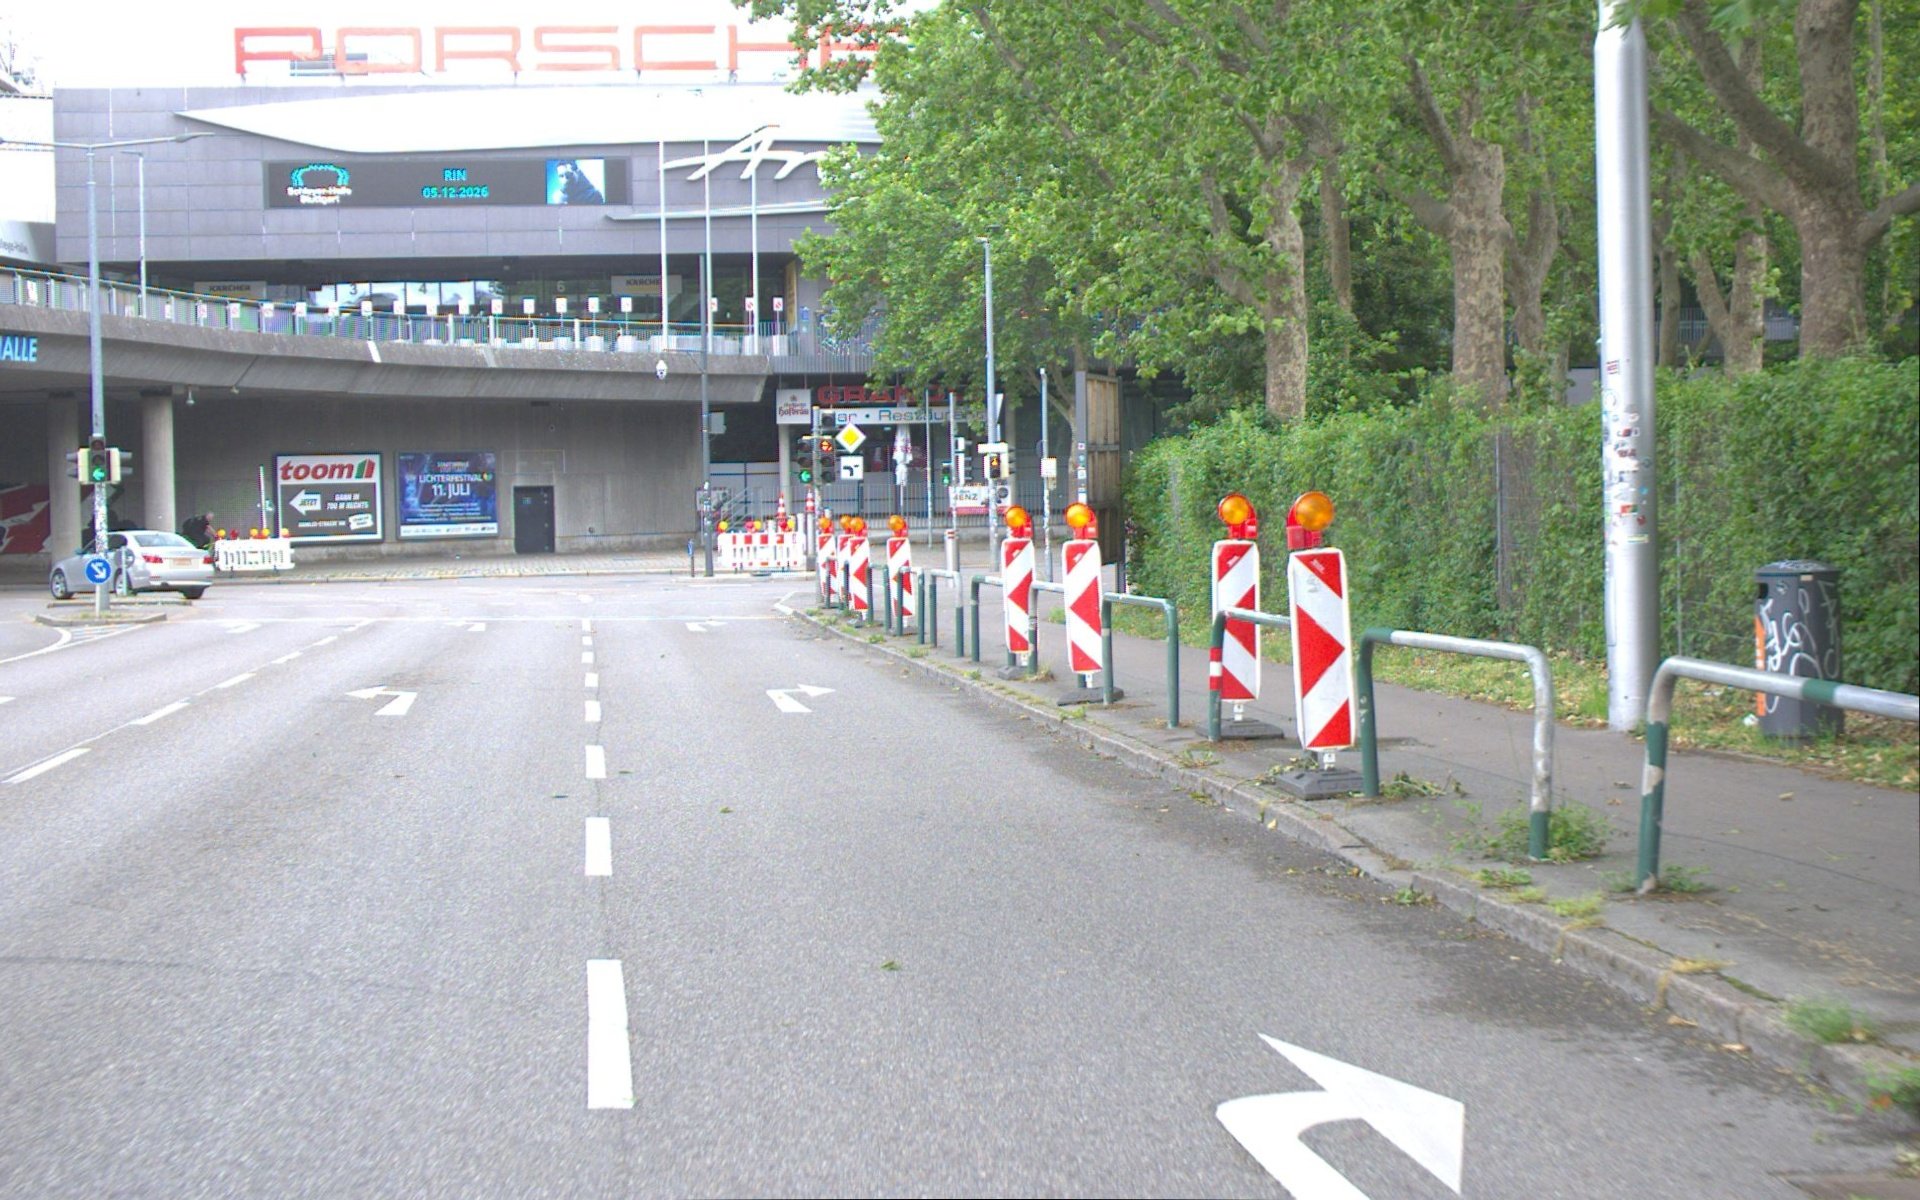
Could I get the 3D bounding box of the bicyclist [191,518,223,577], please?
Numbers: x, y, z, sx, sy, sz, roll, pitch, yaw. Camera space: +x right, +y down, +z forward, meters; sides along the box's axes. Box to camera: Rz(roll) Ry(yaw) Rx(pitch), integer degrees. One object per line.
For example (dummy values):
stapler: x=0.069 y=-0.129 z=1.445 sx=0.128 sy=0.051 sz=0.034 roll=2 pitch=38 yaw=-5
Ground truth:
bicyclist: x=-21.638 y=-1.514 z=98.748 sx=0.851 sy=1.692 sz=0.767 roll=0 pitch=1 yaw=-9

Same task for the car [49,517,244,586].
car: x=-17.300 y=-1.041 z=73.039 sx=3.996 sy=1.414 sz=1.996 roll=1 pitch=2 yaw=39
